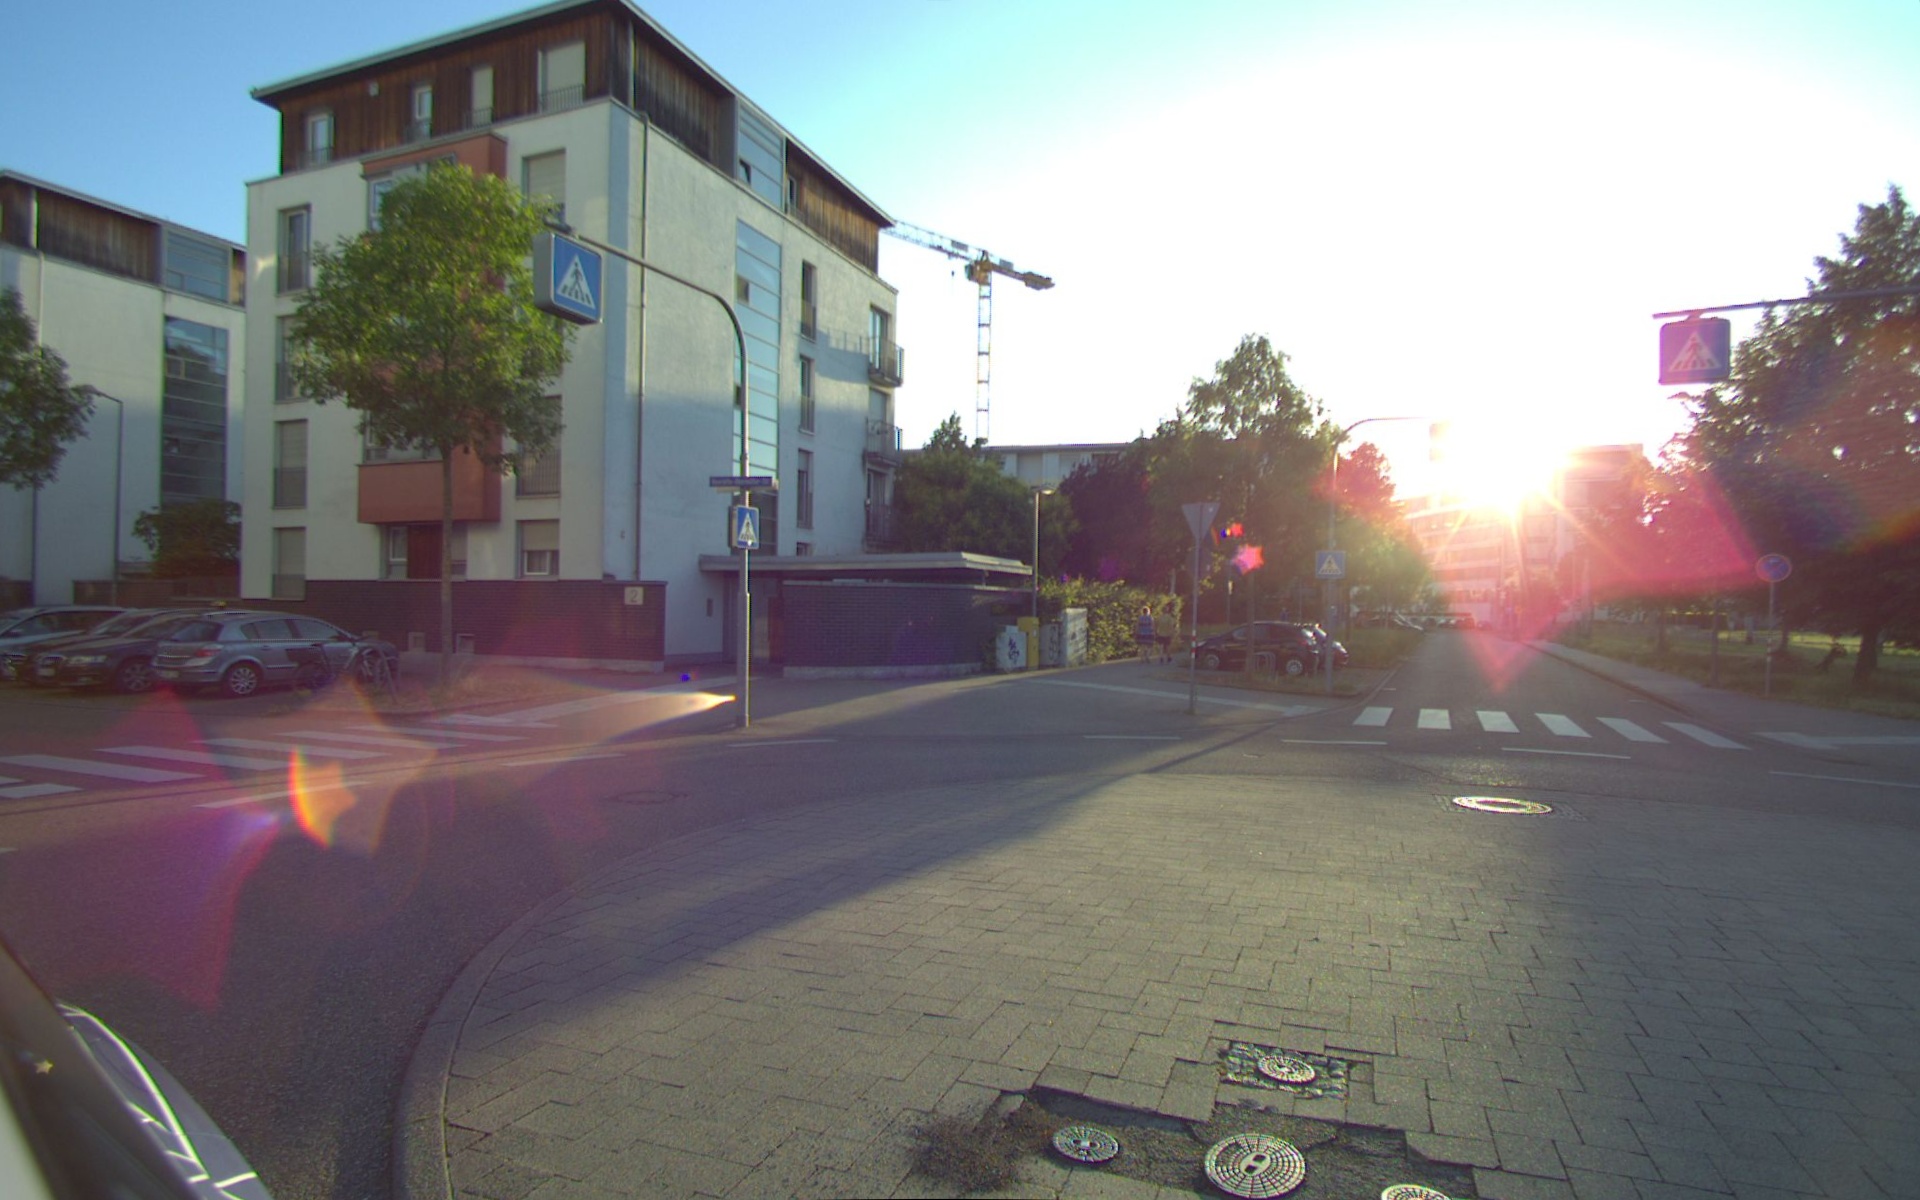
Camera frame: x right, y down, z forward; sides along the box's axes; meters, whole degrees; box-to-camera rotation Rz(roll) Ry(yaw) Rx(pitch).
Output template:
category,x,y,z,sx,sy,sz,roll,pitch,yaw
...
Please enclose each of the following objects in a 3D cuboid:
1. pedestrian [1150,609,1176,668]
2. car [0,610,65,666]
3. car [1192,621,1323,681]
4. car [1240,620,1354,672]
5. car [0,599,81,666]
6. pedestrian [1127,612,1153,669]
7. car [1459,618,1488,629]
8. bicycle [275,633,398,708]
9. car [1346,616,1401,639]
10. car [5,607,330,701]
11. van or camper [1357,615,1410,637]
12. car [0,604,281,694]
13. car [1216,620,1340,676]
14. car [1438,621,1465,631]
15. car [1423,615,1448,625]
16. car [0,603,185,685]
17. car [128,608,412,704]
category,x,y,z,sx,sy,sz,roll,pitch,yaw
pedestrian,5.910,1.105,29.475,0.616,1.680,0.742,1,1,4
car,-27.861,1.078,28.336,1.710,1.527,3.897,0,0,18
car,8.495,1.406,28.895,3.391,1.533,1.677,1,0,25
car,11.022,1.472,33.112,3.391,1.511,1.581,1,0,25
car,-25.704,0.839,26.397,1.710,1.723,3.897,0,0,18
pedestrian,5.250,1.158,29.518,0.648,1.612,0.712,1,1,5
car,79.213,3.560,156.022,3.854,1.625,1.690,0,-1,23
bicycle,-10.600,1.166,17.274,0.563,1.074,1.811,0,2,20
car,32.061,2.106,78.510,3.850,1.707,1.692,0,-1,20
car,-15.248,0.950,19.888,1.698,1.489,4.885,0,1,20
van or camper,33.832,2.046,80.948,3.850,1.707,1.822,0,-1,20
car,-17.236,0.911,21.249,1.702,1.567,4.747,0,1,26
car,9.631,1.412,30.659,3.391,1.511,1.581,1,0,25
car,80.633,4.215,166.071,3.781,1.625,1.639,0,-1,23
car,82.049,3.462,174.690,3.781,1.625,1.639,0,-1,23
car,-19.972,0.906,22.059,1.744,1.597,4.733,0,1,18
car,-12.810,0.951,19.132,1.668,1.468,4.265,0,1,20
